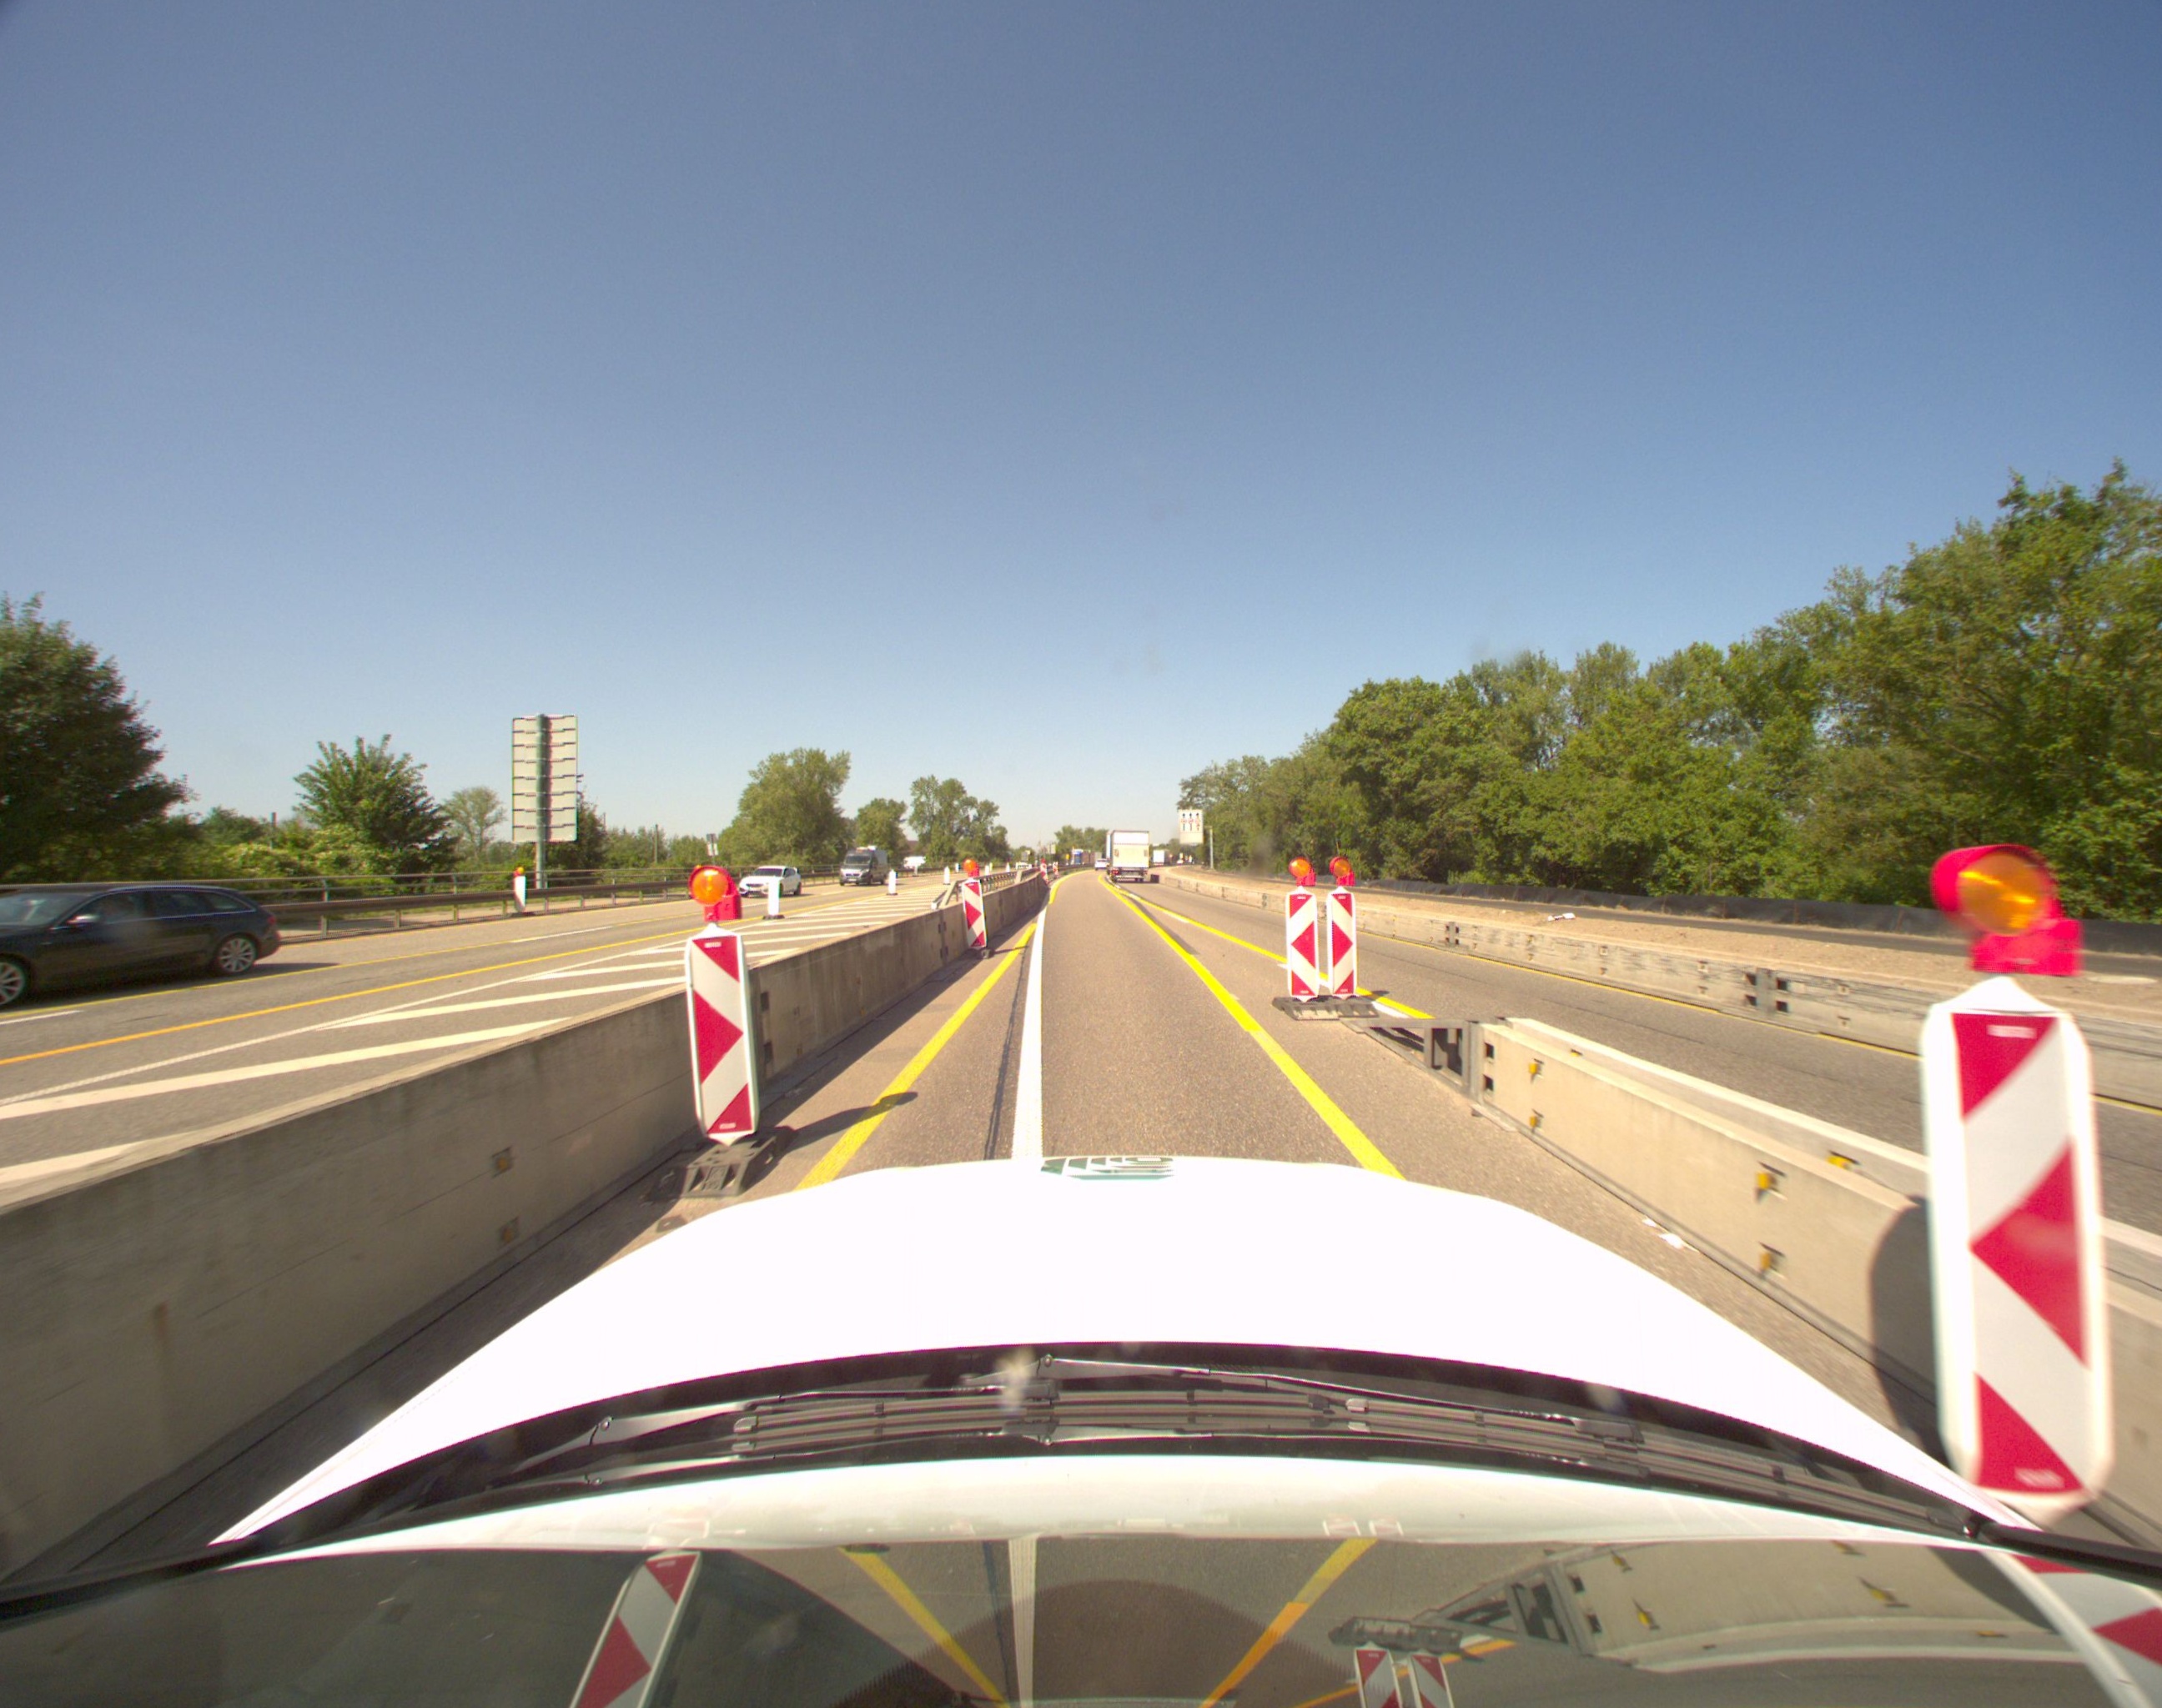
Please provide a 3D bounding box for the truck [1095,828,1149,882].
[{"bbox_3d":[2.671,0.033,55.184,2.630,3.427,7.220,0,0,-5],"label":"truck"}]

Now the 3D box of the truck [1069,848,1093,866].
[{"bbox_3d":[0.102,0.726,191.988,3.016,4.091,10.664,1,0,14],"label":"truck"}]

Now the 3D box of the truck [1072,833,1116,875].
[{"bbox_3d":[1.180,0.021,79.456,3.383,3.774,7.219,-2,0,-5],"label":"truck"}]

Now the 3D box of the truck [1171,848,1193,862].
[{"bbox_3d":[32.219,0.286,258.777,4.183,4.266,10.296,-2,0,22],"label":"truck"}]

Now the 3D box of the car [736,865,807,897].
[{"bbox_3d":[-14.537,1.239,38.547,1.714,1.397,4.517,0,0,-2],"label":"car"}]

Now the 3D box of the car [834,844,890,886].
[{"bbox_3d":[-14.659,0.695,54.845,2.138,2.660,5.547,-1,0,1],"label":"car"}]

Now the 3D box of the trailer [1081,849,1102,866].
[{"bbox_3d":[2.602,0.788,201.924,3.016,4.091,9.825,1,0,14],"label":"trailer"}]

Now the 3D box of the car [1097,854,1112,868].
[{"bbox_3d":[3.196,0.926,111.205,1.808,1.776,4.005,-2,0,5],"label":"car"}]

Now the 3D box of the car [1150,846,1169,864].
[{"bbox_3d":[19.580,0.271,202.725,4.185,4.252,10.681,-2,0,7],"label":"car"}]

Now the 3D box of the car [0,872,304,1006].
[{"bbox_3d":[-13.528,1.057,11.003,1.733,1.476,4.640,-1,0,-3],"label":"car"}]

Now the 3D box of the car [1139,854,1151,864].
[{"bbox_3d":[13.218,1.087,168.709,1.981,2.013,4.011,-2,0,10],"label":"car"}]
